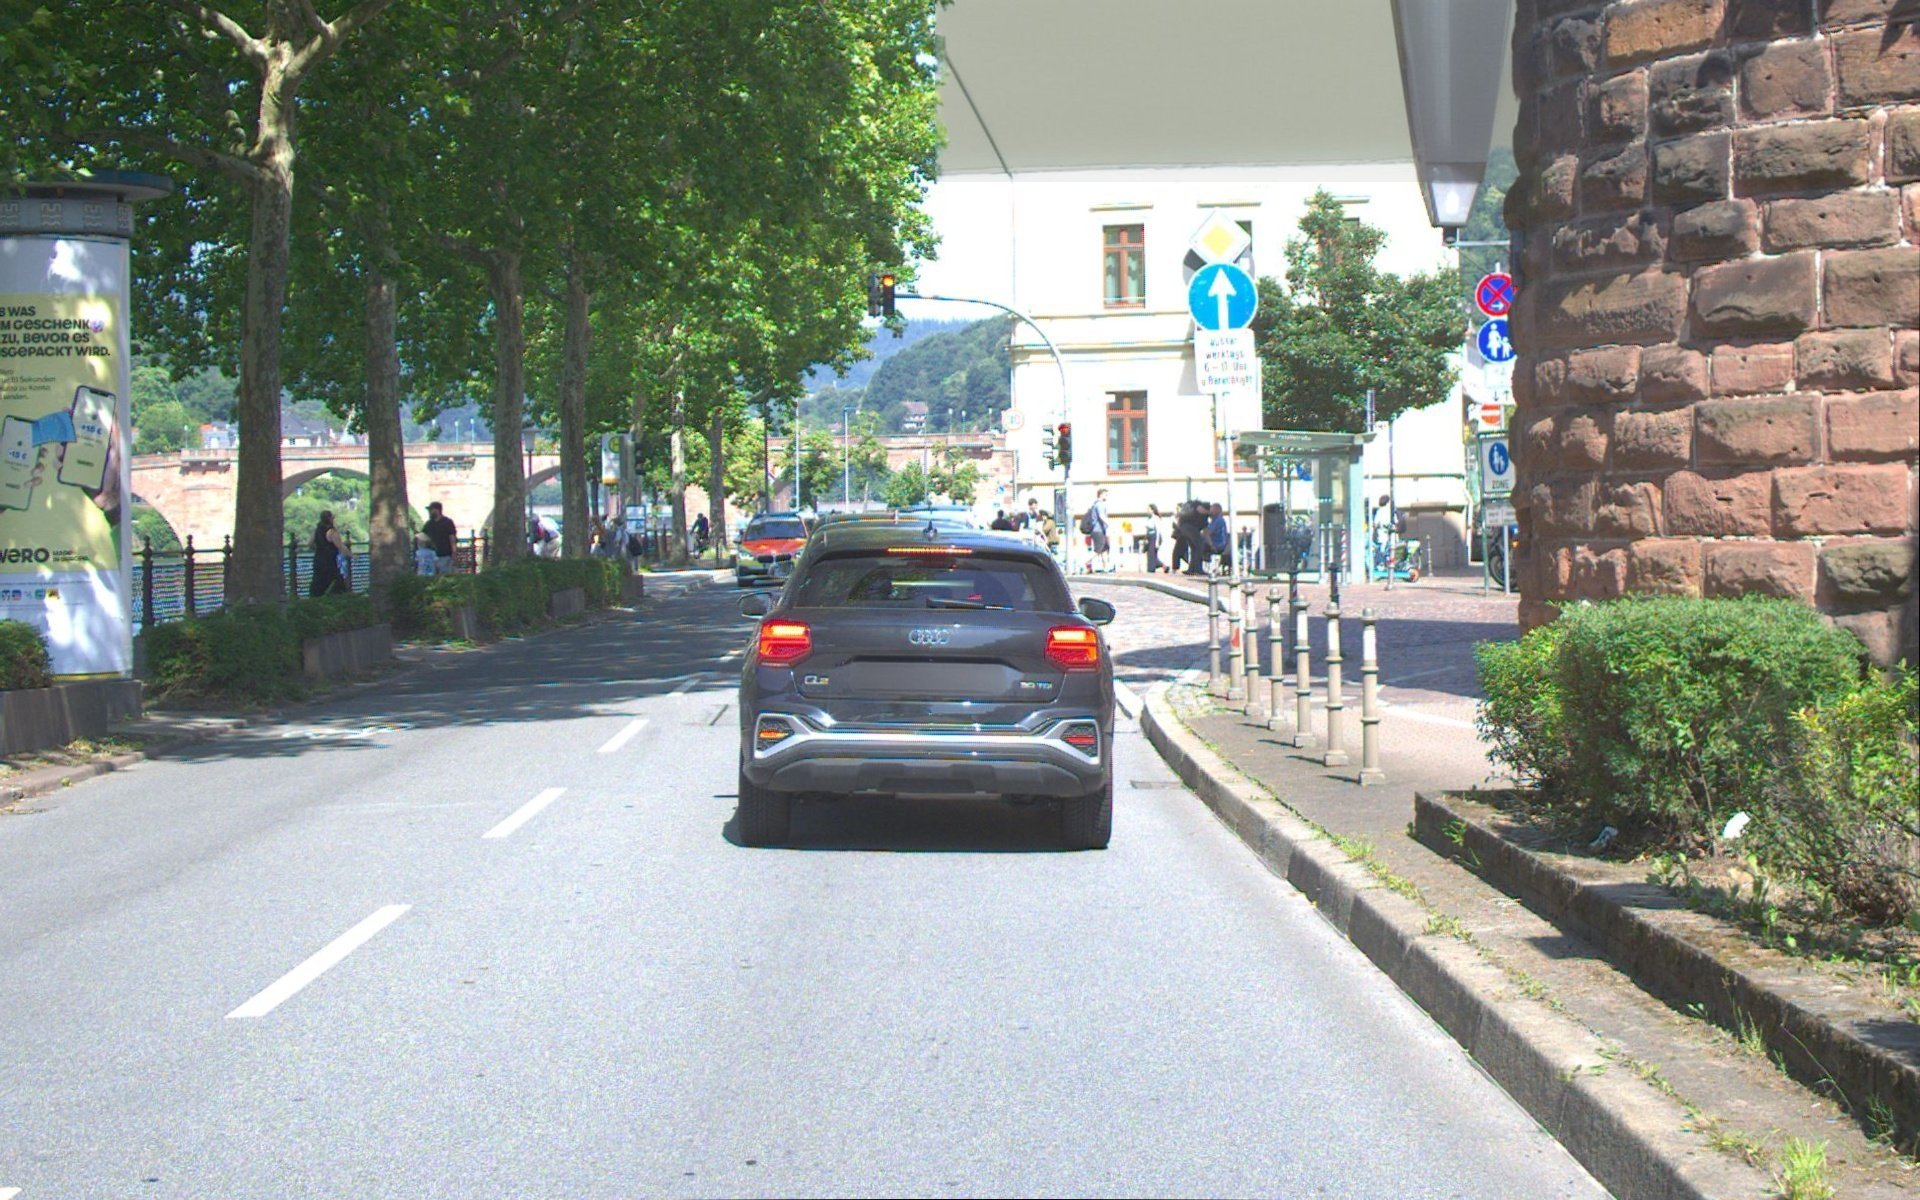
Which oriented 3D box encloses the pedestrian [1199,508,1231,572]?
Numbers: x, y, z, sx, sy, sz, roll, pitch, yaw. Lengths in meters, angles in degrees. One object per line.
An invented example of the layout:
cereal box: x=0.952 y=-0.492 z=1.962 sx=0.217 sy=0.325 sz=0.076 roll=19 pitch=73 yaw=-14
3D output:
pedestrian: x=4.829 y=-1.136 z=65.088 sx=0.546 sy=1.197 sz=0.522 roll=1 pitch=1 yaw=1

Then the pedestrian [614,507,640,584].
pedestrian: x=-7.116 y=-1.170 z=73.528 sx=0.517 sy=1.632 sz=0.439 roll=-1 pitch=1 yaw=-7

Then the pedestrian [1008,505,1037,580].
pedestrian: x=1.295 y=-1.192 z=71.230 sx=0.557 sy=1.552 sz=0.660 roll=1 pitch=1 yaw=1

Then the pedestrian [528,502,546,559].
pedestrian: x=-10.612 y=-1.740 z=86.243 sx=0.409 sy=1.420 sz=0.457 roll=1 pitch=1 yaw=-4

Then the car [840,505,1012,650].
car: x=-0.360 y=-0.286 z=38.455 sx=1.801 sy=1.517 sz=3.716 roll=-1 pitch=2 yaw=0

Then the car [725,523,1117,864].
car: x=-0.222 y=0.385 z=17.359 sx=1.748 sy=1.489 sz=3.629 roll=1 pitch=2 yaw=-1

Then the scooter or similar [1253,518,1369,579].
scooter or similar: x=5.797 y=-0.858 z=56.869 sx=1.845 sy=0.960 sz=0.429 roll=1 pitch=1 yaw=-1

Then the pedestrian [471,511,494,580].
pedestrian: x=-10.766 y=-1.233 z=77.567 sx=0.497 sy=1.532 sz=0.680 roll=-1 pitch=1 yaw=-7

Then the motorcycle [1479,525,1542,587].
motorcycle: x=7.518 y=-0.614 z=47.021 sx=0.483 sy=0.815 sz=2.280 roll=-1 pitch=2 yaw=0

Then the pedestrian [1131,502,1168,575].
pedestrian: x=4.086 y=-1.332 z=74.078 sx=0.747 sy=1.552 sz=0.588 roll=1 pitch=1 yaw=1

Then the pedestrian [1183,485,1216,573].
pedestrian: x=4.484 y=-1.327 z=64.304 sx=0.557 sy=1.627 sz=0.660 roll=1 pitch=1 yaw=1

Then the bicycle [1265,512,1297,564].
bicycle: x=6.191 y=-1.200 z=66.323 sx=0.450 sy=0.971 sz=1.400 roll=1 pitch=1 yaw=0

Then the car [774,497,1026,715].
car: x=-0.430 y=-0.005 z=26.619 sx=1.801 sy=1.557 sz=3.716 roll=-1 pitch=2 yaw=0

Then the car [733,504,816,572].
car: x=-4.265 y=-1.454 z=79.468 sx=1.615 sy=1.517 sz=3.476 roll=-1 pitch=2 yaw=1

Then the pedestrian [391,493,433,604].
pedestrian: x=-8.651 y=-0.822 z=54.298 sx=0.563 sy=1.735 sz=0.665 roll=-1 pitch=1 yaw=-3

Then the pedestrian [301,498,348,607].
pedestrian: x=-10.097 y=-0.761 z=54.643 sx=0.645 sy=1.711 sz=0.665 roll=1 pitch=1 yaw=-3

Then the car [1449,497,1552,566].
car: x=13.970 y=-1.775 z=89.046 sx=1.993 sy=1.710 sz=4.000 roll=1 pitch=1 yaw=0
